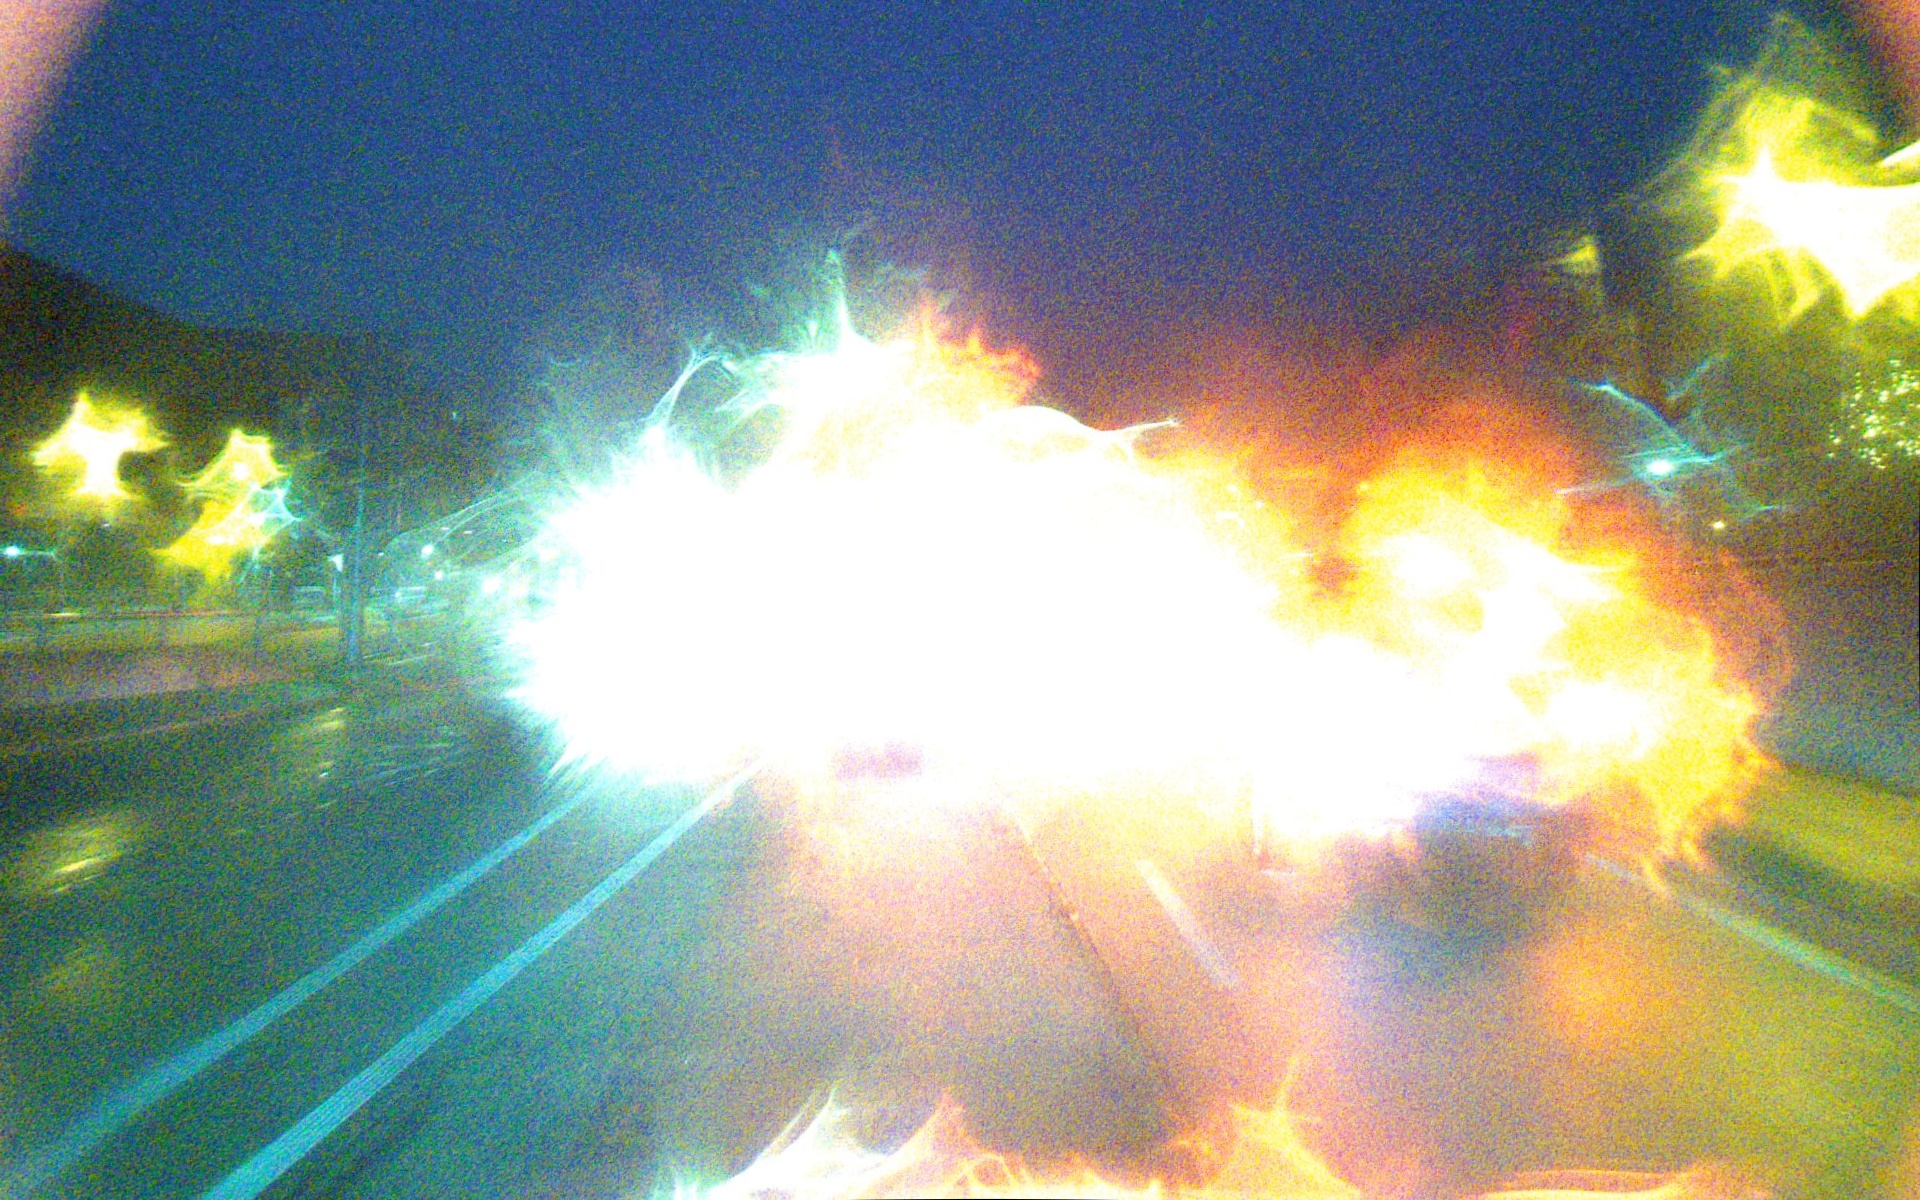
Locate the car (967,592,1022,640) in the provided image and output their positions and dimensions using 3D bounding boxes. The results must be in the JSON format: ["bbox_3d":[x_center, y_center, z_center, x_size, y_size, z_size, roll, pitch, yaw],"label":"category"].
[{"bbox_3d":[1.055,0.498,52.562,1.629,1.475,4.049,1,0,0],"label":"car"}]

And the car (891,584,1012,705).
[{"bbox_3d":[-0.099,0.601,25.096,1.673,1.666,3.731,-1,1,0],"label":"car"}]

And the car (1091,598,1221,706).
[{"bbox_3d":[2.947,0.736,25.616,1.731,1.475,4.220,1,1,3],"label":"car"}]

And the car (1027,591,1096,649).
[{"bbox_3d":[2.760,0.524,45.604,1.629,1.475,4.050,1,1,0],"label":"car"}]

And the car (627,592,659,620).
[{"bbox_3d":[-22.939,0.428,119.667,1.960,1.925,4.724,0,0,-15],"label":"car"}]

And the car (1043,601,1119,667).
[{"bbox_3d":[2.810,0.762,39.080,1.629,1.475,4.051,0,0,2],"label":"car"}]

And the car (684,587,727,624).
[{"bbox_3d":[-13.919,0.272,90.259,1.959,1.945,4.726,0,0,-13],"label":"car"}]

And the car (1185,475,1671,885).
[{"bbox_3d":[2.604,0.369,10.303,1.902,2.006,4.219,1,1,1],"label":"car"}]

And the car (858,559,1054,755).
[{"bbox_3d":[-0.034,0.496,16.195,1.660,1.658,3.852,1,0,0],"label":"car"}]
